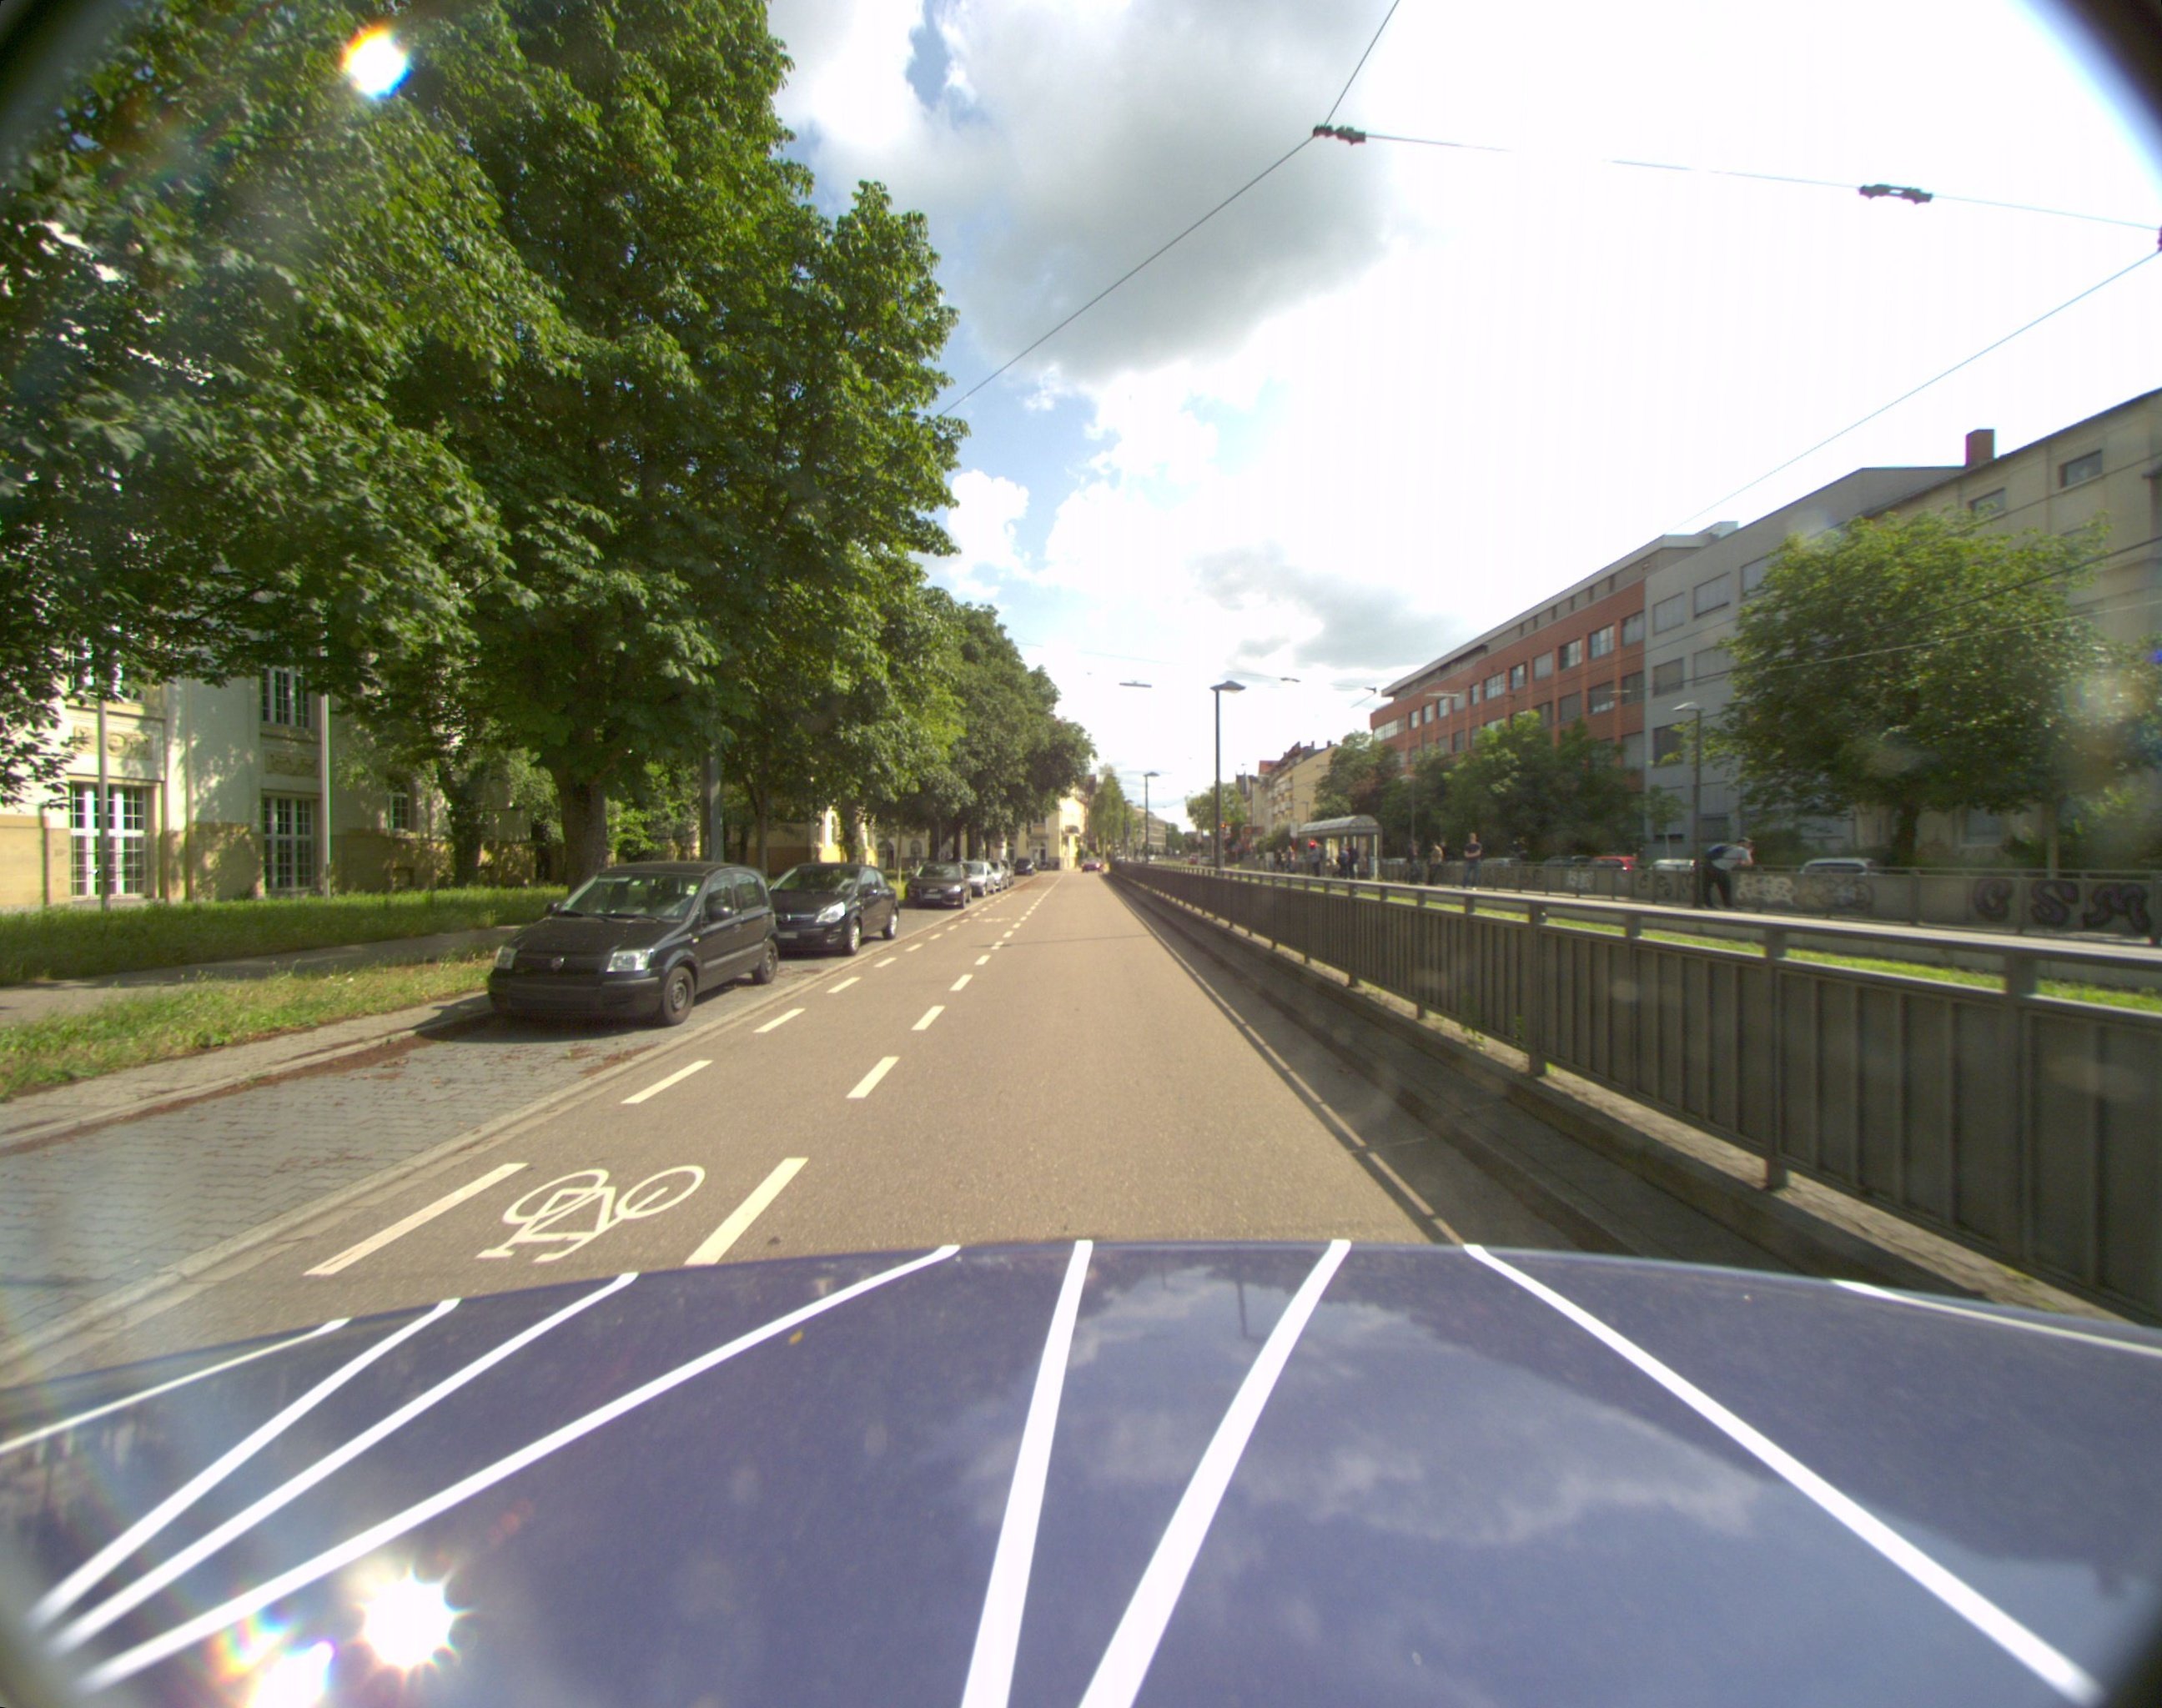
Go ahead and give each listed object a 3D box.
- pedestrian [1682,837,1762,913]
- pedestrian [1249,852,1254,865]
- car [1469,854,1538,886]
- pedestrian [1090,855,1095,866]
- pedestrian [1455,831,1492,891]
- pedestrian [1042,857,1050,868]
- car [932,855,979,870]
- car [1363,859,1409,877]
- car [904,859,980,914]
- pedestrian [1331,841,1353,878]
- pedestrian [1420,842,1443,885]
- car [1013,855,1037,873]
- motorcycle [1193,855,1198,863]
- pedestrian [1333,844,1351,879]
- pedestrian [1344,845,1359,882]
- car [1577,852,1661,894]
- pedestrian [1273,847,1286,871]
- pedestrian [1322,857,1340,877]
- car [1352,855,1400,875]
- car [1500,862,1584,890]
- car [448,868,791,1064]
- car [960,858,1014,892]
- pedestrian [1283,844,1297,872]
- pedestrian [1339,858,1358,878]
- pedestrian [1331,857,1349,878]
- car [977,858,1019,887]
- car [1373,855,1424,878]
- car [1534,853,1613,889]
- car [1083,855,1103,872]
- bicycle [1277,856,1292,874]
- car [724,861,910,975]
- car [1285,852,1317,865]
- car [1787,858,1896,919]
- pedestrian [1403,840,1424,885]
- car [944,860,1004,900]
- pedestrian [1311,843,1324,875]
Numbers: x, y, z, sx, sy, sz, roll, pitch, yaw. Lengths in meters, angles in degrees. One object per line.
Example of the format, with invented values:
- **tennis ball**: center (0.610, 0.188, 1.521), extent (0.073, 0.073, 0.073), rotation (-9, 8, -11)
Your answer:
- **pedestrian**: center (13.606, 0.437, 16.150), extent (0.991, 1.569, 0.798), rotation (0, 1, -3)
- **pedestrian**: center (22.876, 0.621, 101.952), extent (0.650, 1.700, 0.481), rotation (0, 0, 1)
- **car**: center (22.629, 0.833, 40.660), extent (4.007, 1.520, 1.668), rotation (-3, 0, -36)
- **pedestrian**: center (1.578, 0.894, 106.261), extent (0.593, 1.622, 0.538), rotation (2, 1, 2)
- **pedestrian**: center (12.920, 0.217, 25.027), extent (0.752, 1.881, 0.638), rotation (3, 3, 2)
- **pedestrian**: center (-3.984, 1.009, 86.988), extent (0.804, 1.238, 0.892), rotation (0, 2, 2)
- **car**: center (-14.012, 0.933, 85.001), extent (4.828, 1.646, 1.858), rotation (-1, 2, 10)
- **car**: center (22.336, 1.009, 55.651), extent (3.258, 1.296, 1.599), rotation (0, 0, -35)
- **car**: center (-4.446, 0.971, 24.907), extent (1.836, 1.458, 4.828), rotation (2, 1, -4)
- **pedestrian**: center (12.470, 0.270, 36.318), extent (0.634, 1.733, 1.036), rotation (0, 1, -3)
- **pedestrian**: center (13.701, 0.370, 29.691), extent (0.608, 1.665, 0.625), rotation (0, 1, 0)
- **car**: center (-4.633, 0.836, 63.304), extent (1.689, 1.379, 3.923), rotation (1, 1, 0)
- **motorcycle**: center (20.862, 0.847, 138.541), extent (0.634, 1.395, 2.010), rotation (-2, 1, 2)
- **pedestrian**: center (12.322, 0.345, 35.858), extent (0.599, 1.623, 0.558), rotation (0, 0, -14)
- **pedestrian**: center (13.323, 0.458, 37.431), extent (0.444, 1.816, 0.623), rotation (0, 1, -3)
- **car**: center (22.717, 0.758, 32.053), extent (4.144, 1.630, 1.829), rotation (0, 1, -39)
- **pedestrian**: center (13.938, 0.358, 53.249), extent (0.667, 1.689, 0.798), rotation (0, 1, -3)
- **pedestrian**: center (13.187, 0.708, 40.070), extent (0.721, 1.025, 0.623), rotation (1, 1, -3)
- **car**: center (23.027, 0.812, 59.250), extent (4.008, 1.487, 1.646), rotation (0, 0, -37)
- **car**: center (23.102, 1.078, 38.051), extent (4.005, 1.143, 1.789), rotation (-3, 0, -29)
- **car**: center (-4.519, 0.974, 8.114), extent (1.560, 1.452, 3.557), rotation (3, 1, -3)
- **car**: center (-4.377, 0.934, 36.060), extent (1.833, 1.433, 5.049), rotation (3, 0, 0)
- **pedestrian**: center (13.242, 0.241, 48.221), extent (0.640, 1.714, 0.798), rotation (0, 1, -3)
- **pedestrian**: center (13.567, 0.727, 38.572), extent (0.706, 0.989, 0.562), rotation (1, 1, -3)
- **pedestrian**: center (13.603, 0.705, 39.921), extent (0.655, 1.026, 0.562), rotation (1, 5, -3)
- **car**: center (-4.583, 0.997, 42.490), extent (1.834, 1.392, 4.656), rotation (3, 0, -1)
- **car**: center (21.985, 0.879, 52.575), extent (3.317, 1.412, 1.581), rotation (-3, 1, -30)
- **car**: center (22.679, 0.744, 34.948), extent (4.007, 1.559, 1.605), rotation (-1, 0, -33)
- **car**: center (1.109, 0.898, 72.295), extent (1.790, 1.499, 4.000), rotation (-2, 0, 0)
- **bicycle**: center (12.946, 0.673, 48.410), extent (0.663, 1.107, 1.878), rotation (1, 1, 8)
- **car**: center (-4.365, 0.956, 13.310), extent (1.695, 1.552, 4.307), rotation (3, 0, 0)
- **car**: center (27.809, 0.601, 96.139), extent (3.608, 1.470, 1.777), rotation (0, -3, 7)
- **car**: center (22.460, 0.937, 22.383), extent (4.161, 1.556, 1.921), rotation (0, 1, -40)
- **pedestrian**: center (12.967, 0.314, 29.612), extent (0.607, 1.744, 0.626), rotation (1, 2, 40)
- **car**: center (-4.268, 1.012, 30.851), extent (1.639, 1.423, 4.015), rotation (2, 0, 2)
- **pedestrian**: center (12.933, 0.275, 41.607), extent (0.487, 1.716, 0.623), rotation (-1, 1, -2)
